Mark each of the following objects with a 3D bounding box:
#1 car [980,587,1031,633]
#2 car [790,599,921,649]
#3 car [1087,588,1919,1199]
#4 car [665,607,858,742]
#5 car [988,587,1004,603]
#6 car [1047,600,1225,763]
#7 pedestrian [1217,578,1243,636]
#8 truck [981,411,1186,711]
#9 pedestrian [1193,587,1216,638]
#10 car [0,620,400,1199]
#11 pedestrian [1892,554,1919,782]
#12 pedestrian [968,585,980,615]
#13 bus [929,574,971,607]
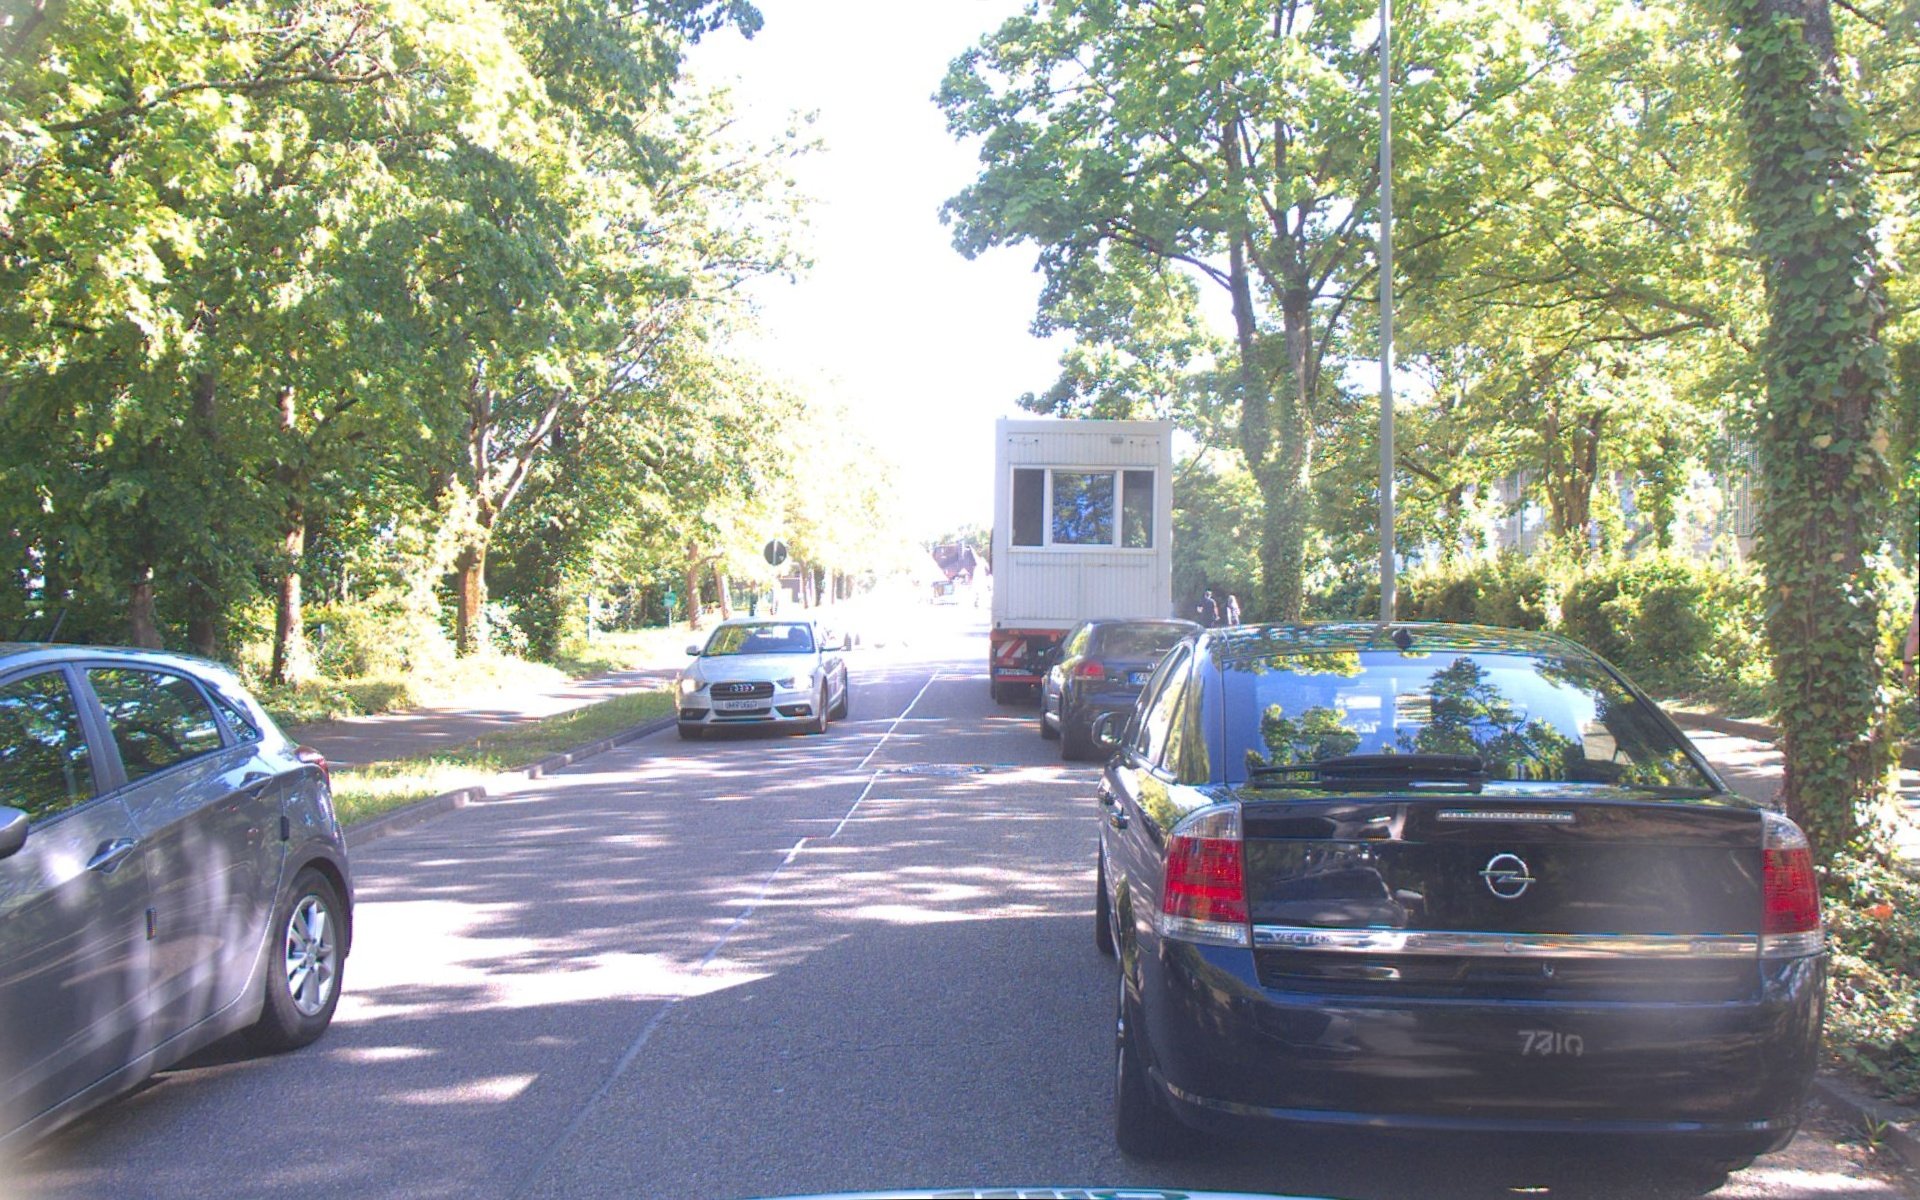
[{"bbox_3d":[1.906,0.417,70.124,1.907,1.875,3.998,0,0,-2],"label":"car"},{"bbox_3d":[-3.349,0.762,53.421,3.924,1.445,1.785,-2,0,-41],"label":"car"},{"bbox_3d":[1.343,0.746,5.612,1.712,1.506,4.032,0,0,3],"label":"car"},{"bbox_3d":[-2.412,0.865,21.091,1.749,1.441,4.106,-2,0,2],"label":"car"},{"bbox_3d":[4.161,-0.595,191.490,1.744,1.840,4.000,-1,0,0],"label":"car"},{"bbox_3d":[1.761,0.764,17.487,1.605,1.445,4.002,-2,0,3],"label":"car"},{"bbox_3d":[8.816,0.233,54.012,0.684,1.844,0.700,-2,0,-2],"label":"pedestrian"},{"bbox_3d":[1.753,-0.565,27.771,2.716,4.066,10.349,1,0,0],"label":"truck"},{"bbox_3d":[7.983,0.393,54.063,0.586,1.639,0.600,-2,0,-2],"label":"pedestrian"},{"bbox_3d":[-3.111,0.865,4.374,1.719,1.479,4.243,-2,0,1],"label":"car"},{"bbox_3d":[7.170,0.484,11.961,0.559,1.636,0.672,0,0,10],"label":"pedestrian"},{"bbox_3d":[1.027,-0.030,120.110,0.736,2.150,0.799,1,0,4],"label":"pedestrian"},{"bbox_3d":[-1.040,-1.084,182.888,3.980,3.407,9.805,-2,0,3],"label":"bus"}]
